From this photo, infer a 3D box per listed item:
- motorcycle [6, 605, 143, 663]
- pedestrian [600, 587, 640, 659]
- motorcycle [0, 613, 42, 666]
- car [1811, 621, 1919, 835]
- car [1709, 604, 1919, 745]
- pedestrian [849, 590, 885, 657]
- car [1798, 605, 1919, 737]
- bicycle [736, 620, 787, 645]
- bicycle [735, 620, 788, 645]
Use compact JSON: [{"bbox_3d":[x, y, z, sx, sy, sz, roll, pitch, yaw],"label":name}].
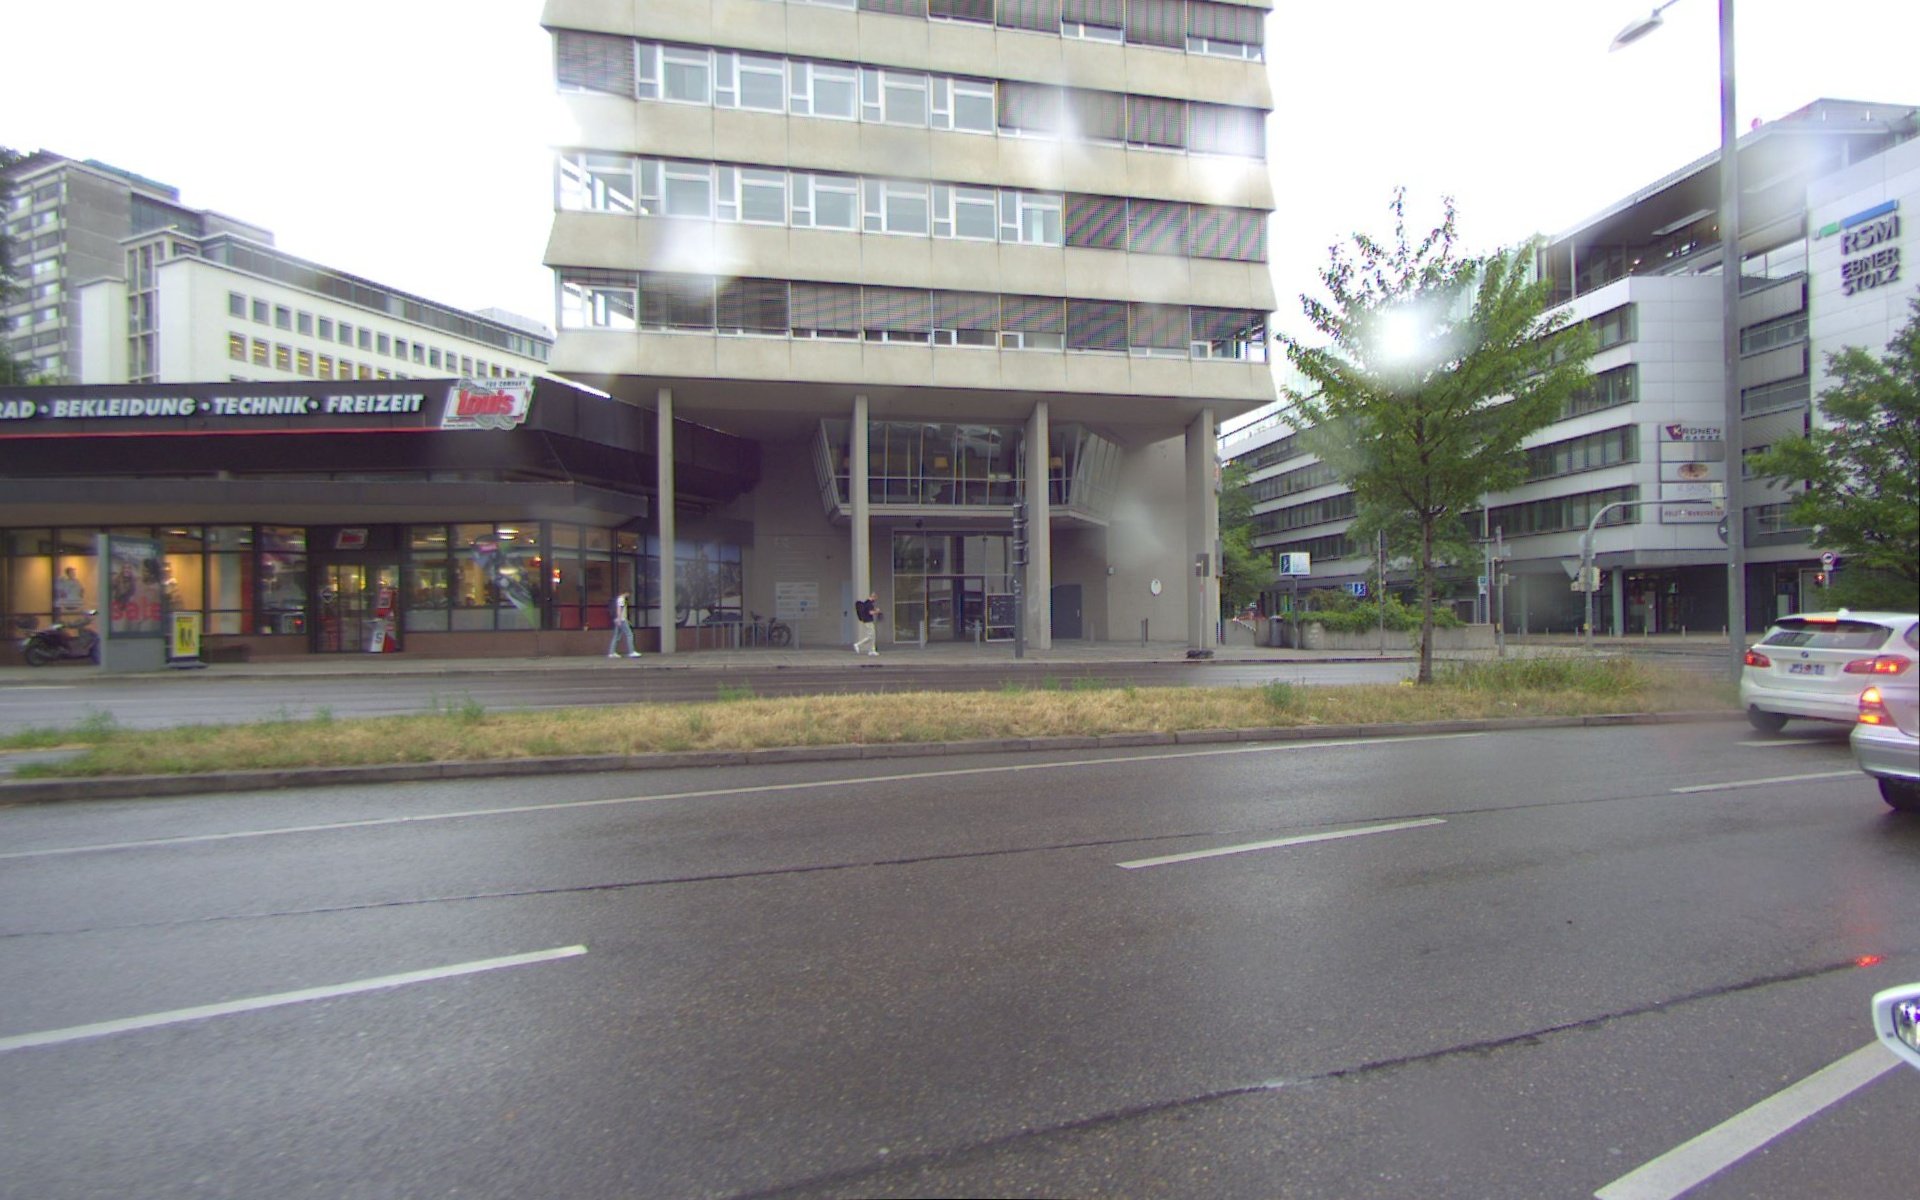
[{"bbox_3d":[-22.353,0.822,25.475,0.788,1.392,2.894,1,0,3],"label":"motorcycle"},{"bbox_3d":[-8.949,0.604,26.444,0.909,1.857,0.817,0,0,-13],"label":"pedestrian"},{"bbox_3d":[-25.291,1.036,25.779,0.709,1.351,2.822,1,0,4],"label":"motorcycle"},{"bbox_3d":[8.754,0.924,7.723,4.135,1.505,1.679,1,-1,-22],"label":"car"},{"bbox_3d":[11.987,0.870,12.882,4.221,1.594,1.782,1,-1,-19],"label":"car"},{"bbox_3d":[-2.621,0.657,28.204,0.909,1.857,0.728,1,-1,-14],"label":"pedestrian"},{"bbox_3d":[13.603,0.900,13.423,3.936,1.617,1.884,1,0,-18],"label":"car"},{"bbox_3d":[-6.917,1.124,35.027,1.742,0.823,0.454,1,0,-12],"label":"bicycle"},{"bbox_3d":[-6.809,1.123,34.446,1.742,0.823,0.454,1,0,-12],"label":"bicycle"}]
